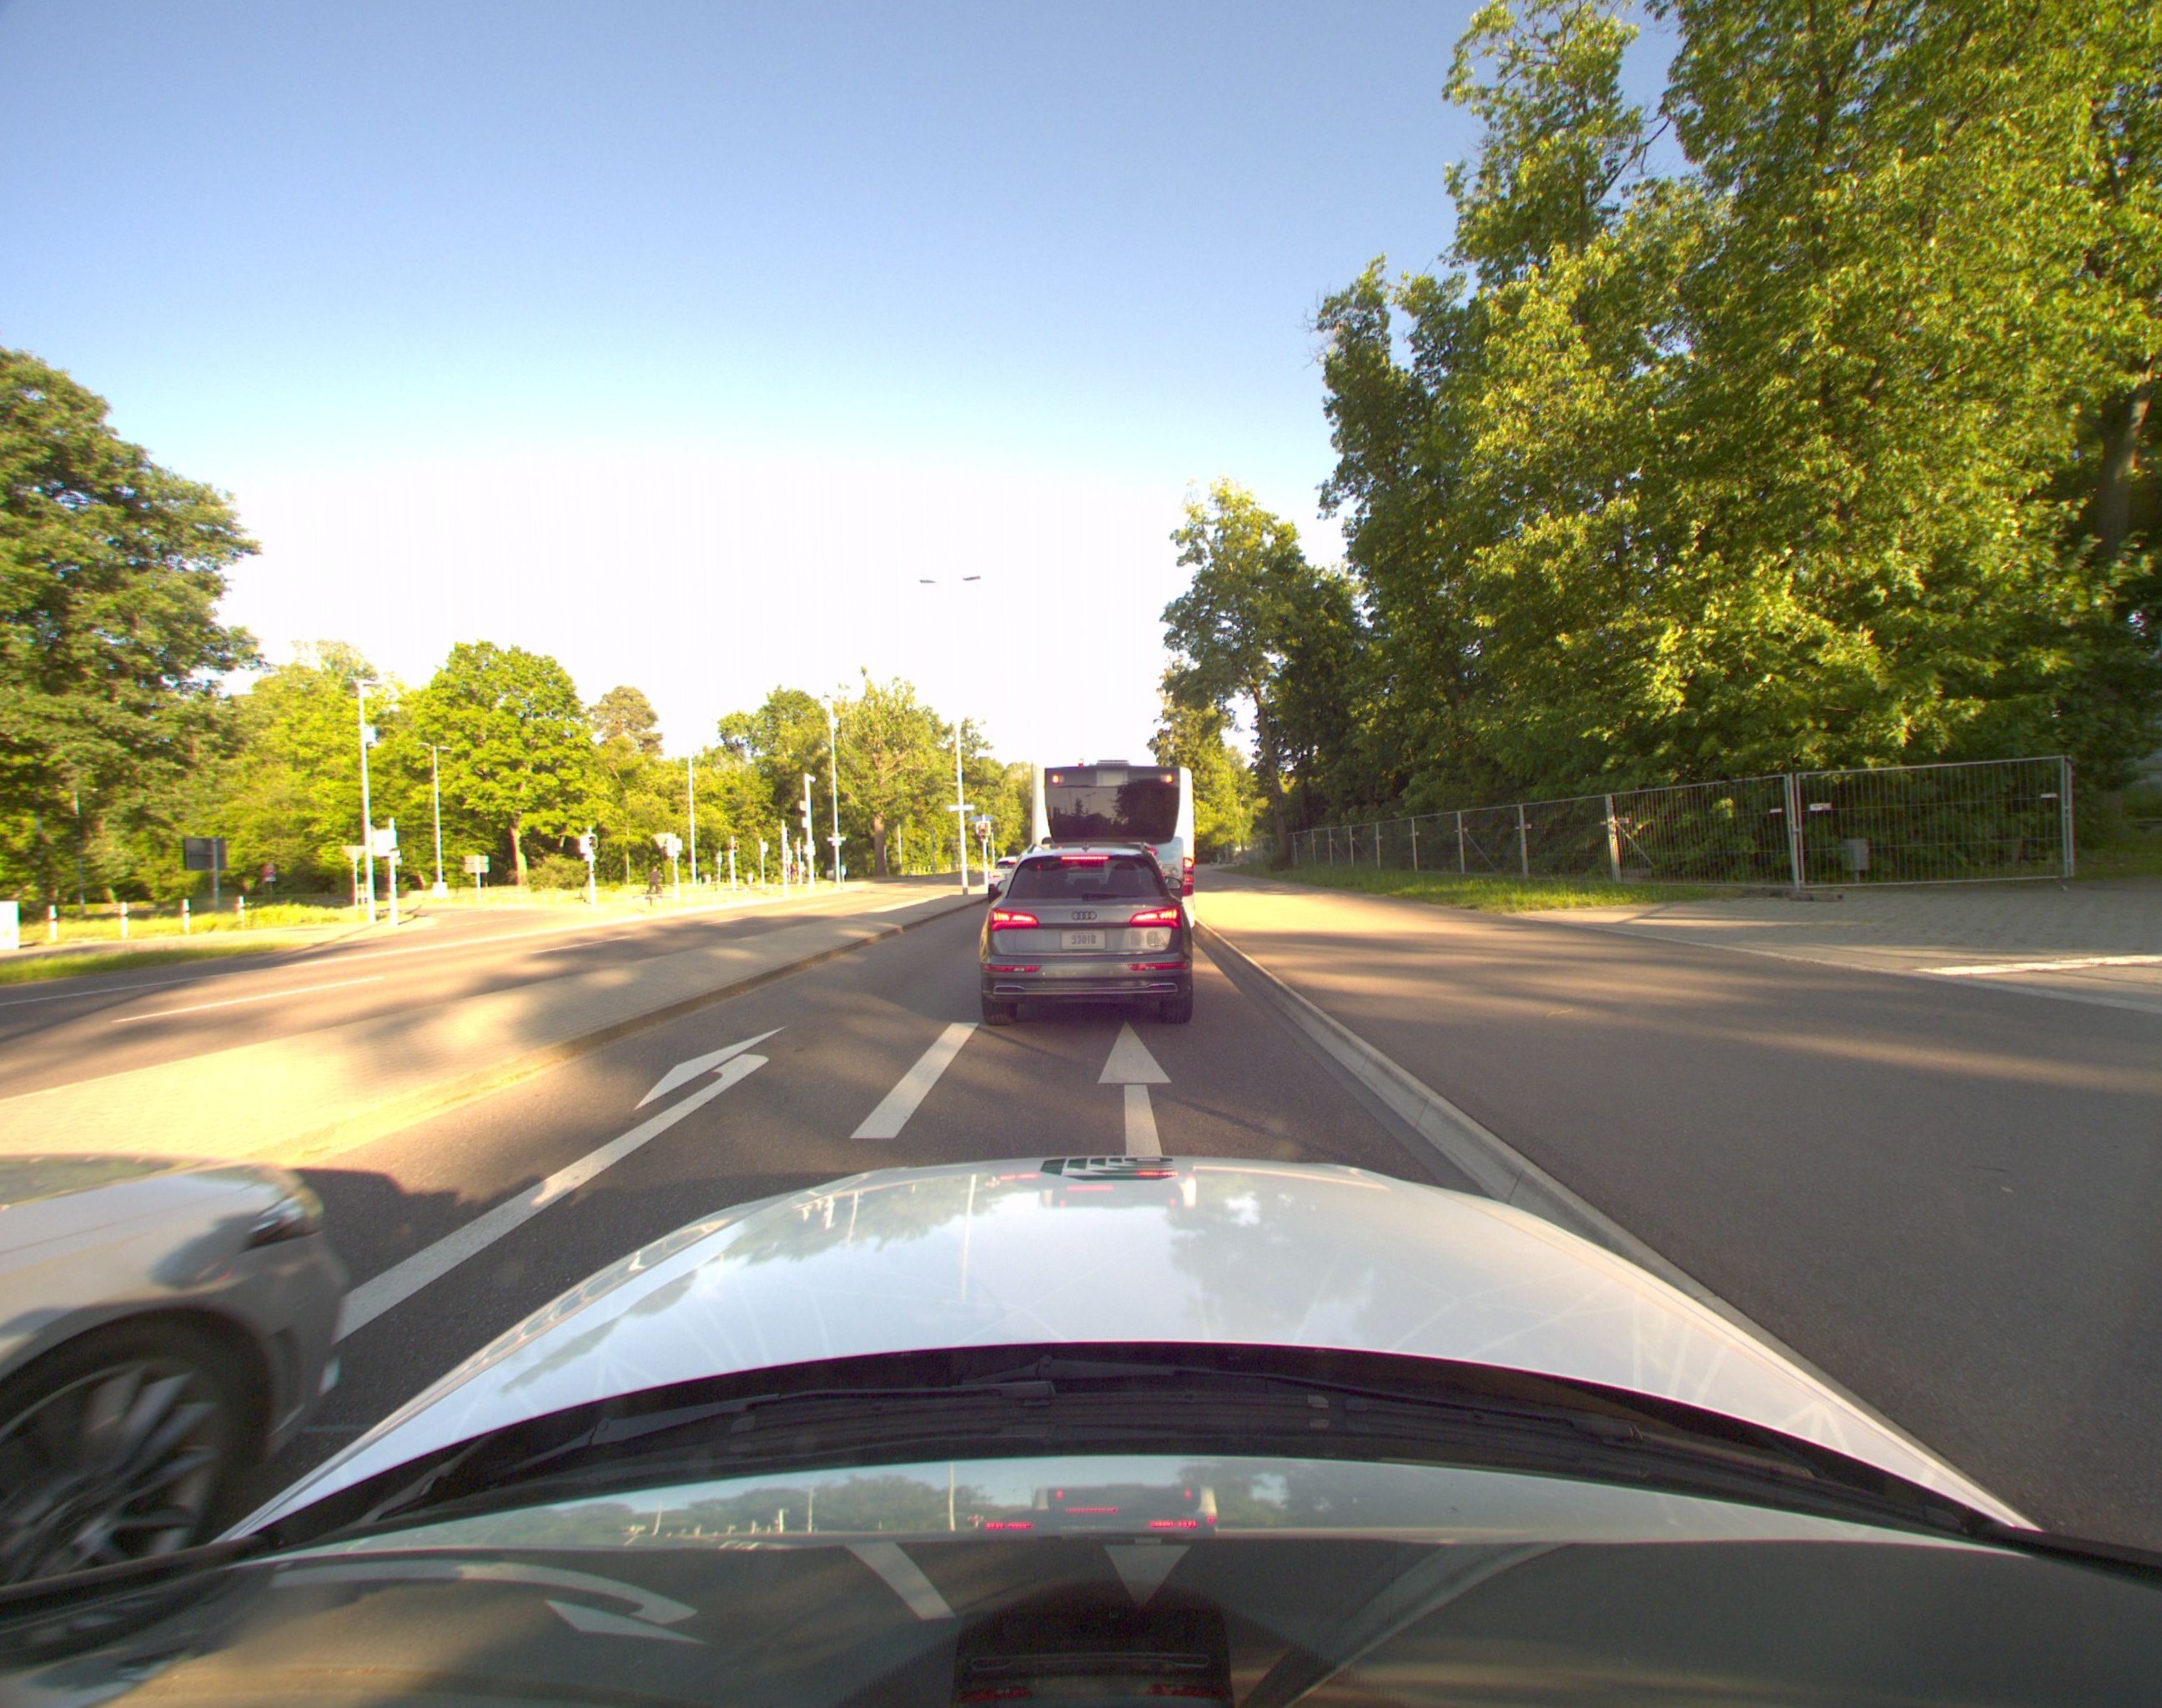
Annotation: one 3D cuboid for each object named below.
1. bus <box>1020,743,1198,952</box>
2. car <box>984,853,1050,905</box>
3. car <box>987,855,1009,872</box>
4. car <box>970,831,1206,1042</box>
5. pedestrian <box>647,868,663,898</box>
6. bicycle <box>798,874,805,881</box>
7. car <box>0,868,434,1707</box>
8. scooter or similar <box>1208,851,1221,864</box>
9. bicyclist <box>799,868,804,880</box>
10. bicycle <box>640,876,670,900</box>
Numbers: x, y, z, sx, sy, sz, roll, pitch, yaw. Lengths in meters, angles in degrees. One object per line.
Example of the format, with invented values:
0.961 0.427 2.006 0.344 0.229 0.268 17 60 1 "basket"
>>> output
0.575 -0.115 15.246 2.667 3.142 5.887 0 0 3 "bus"
-2.084 0.787 27.692 1.801 1.572 4.002 0 1 2 "car"
-8.583 0.948 84.239 1.990 1.662 3.995 -3 0 -4 "car"
0.117 0.639 8.476 1.861 1.663 4.002 0 1 2 "car"
-22.684 1.537 43.367 0.480 1.562 0.649 0 -1 2 "pedestrian"
-22.289 1.858 64.907 0.266 0.581 0.838 0 -1 -4 "bicycle"
-2.740 0.790 0.156 1.779 1.444 4.277 0 1 0 "car"
12.812 0.320 77.868 1.175 1.174 0.661 0 0 13 "scooter or similar"
-22.287 1.624 64.930 0.272 0.963 0.240 0 -1 -3 "bicyclist"
-22.667 1.792 43.355 0.466 1.178 2.005 0 -1 2 "bicycle"
